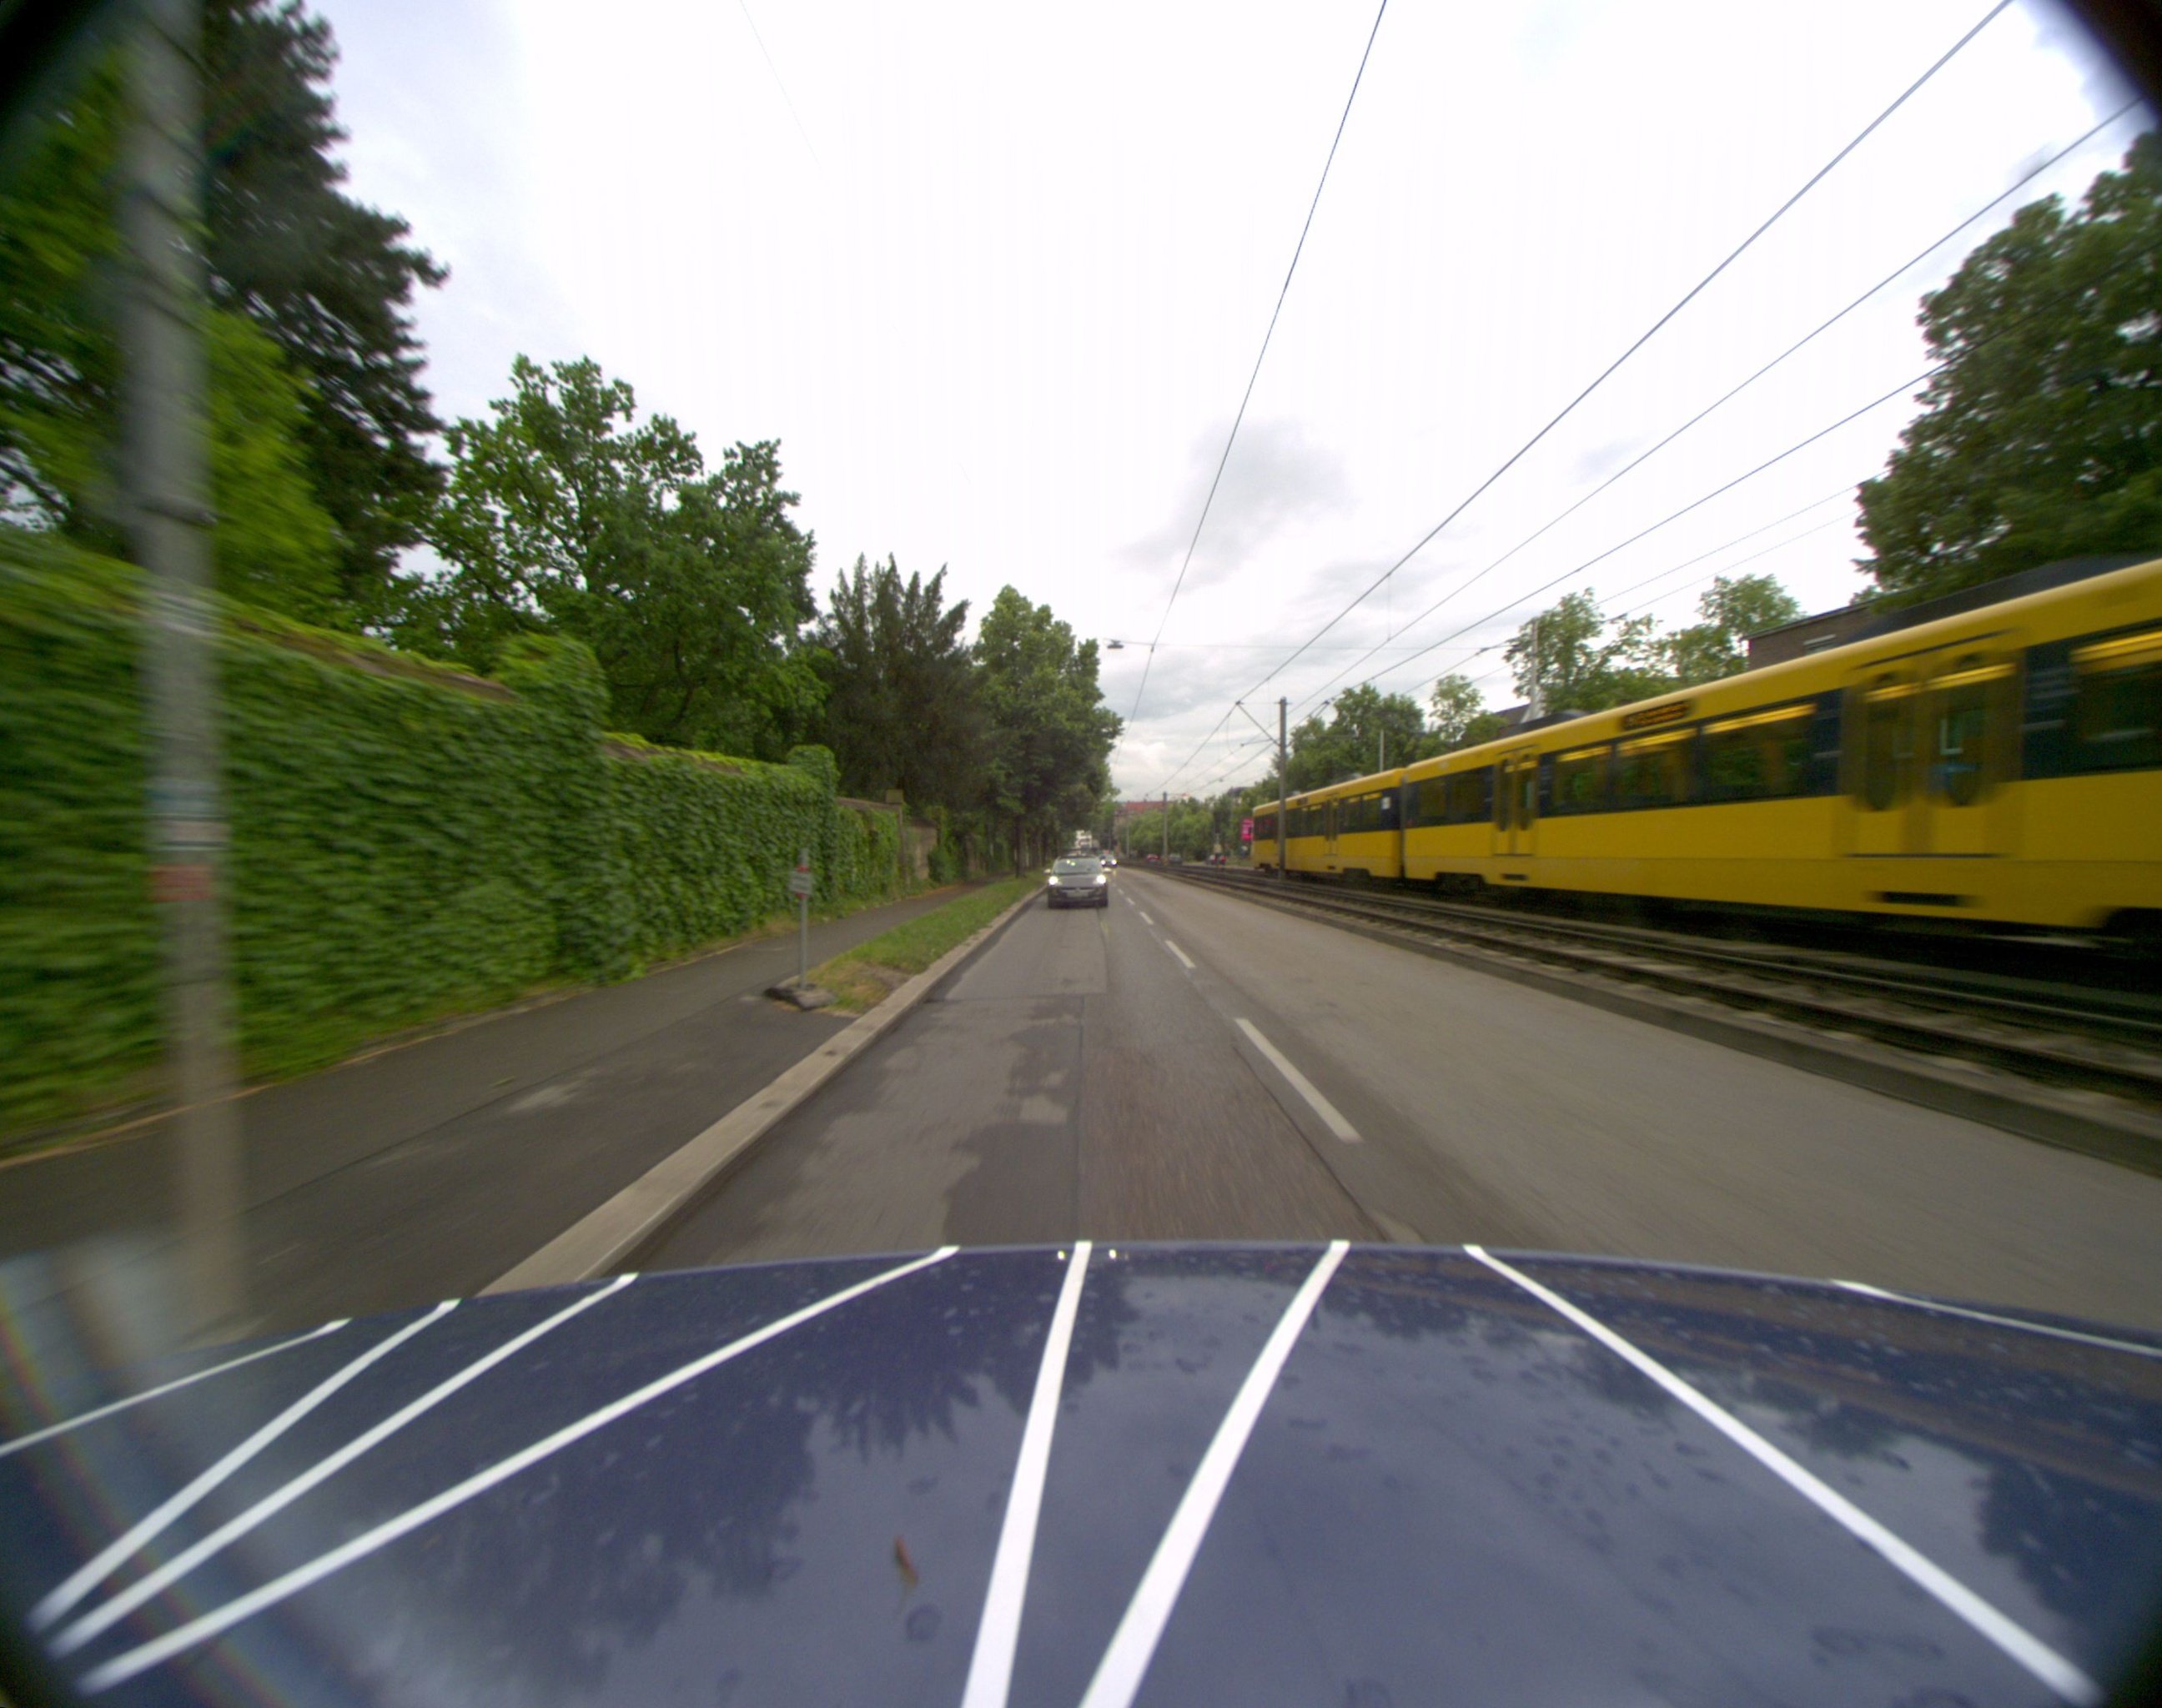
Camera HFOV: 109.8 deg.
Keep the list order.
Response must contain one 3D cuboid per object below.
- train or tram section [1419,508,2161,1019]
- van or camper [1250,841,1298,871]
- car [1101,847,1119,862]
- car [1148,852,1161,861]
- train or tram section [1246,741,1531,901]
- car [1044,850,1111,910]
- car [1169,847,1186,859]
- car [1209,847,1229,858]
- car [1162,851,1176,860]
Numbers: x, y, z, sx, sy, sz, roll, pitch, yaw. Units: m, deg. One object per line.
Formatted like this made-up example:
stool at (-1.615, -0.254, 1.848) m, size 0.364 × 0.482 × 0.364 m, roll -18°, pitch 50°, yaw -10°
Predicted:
train or tram section at (9.825, -0.757, 10.101) m, size 2.835 × 3.953 × 17.874 m, roll -1°, pitch 1°, yaw 0°
van or camper at (13.336, 0.105, 52.876) m, size 1.918 × 1.948 × 5.693 m, roll -1°, pitch 1°, yaw 0°
car at (3.010, 0.064, 79.661) m, size 1.768 × 1.503 × 4.341 m, roll -1°, pitch 1°, yaw 2°
car at (12.502, 0.421, 129.808) m, size 1.692 × 1.385 × 4.340 m, roll -1°, pitch 1°, yaw -1°
train or tram section at (9.874, -0.921, 28.990) m, size 2.835 × 3.953 × 20.025 m, roll -1°, pitch 1°, yaw 0°
car at (-0.061, 0.694, 22.805) m, size 1.746 × 1.544 × 4.493 m, roll -2°, pitch 1°, yaw 1°
car at (13.209, -0.107, 104.524) m, size 1.692 × 1.628 × 4.340 m, roll -1°, pitch 1°, yaw -1°
car at (19.395, -0.220, 107.069) m, size 1.958 × 1.493 × 4.340 m, roll -1°, pitch 1°, yaw -1°
car at (15.297, 0.322, 132.429) m, size 1.769 × 1.503 × 4.340 m, roll -1°, pitch 1°, yaw -1°
